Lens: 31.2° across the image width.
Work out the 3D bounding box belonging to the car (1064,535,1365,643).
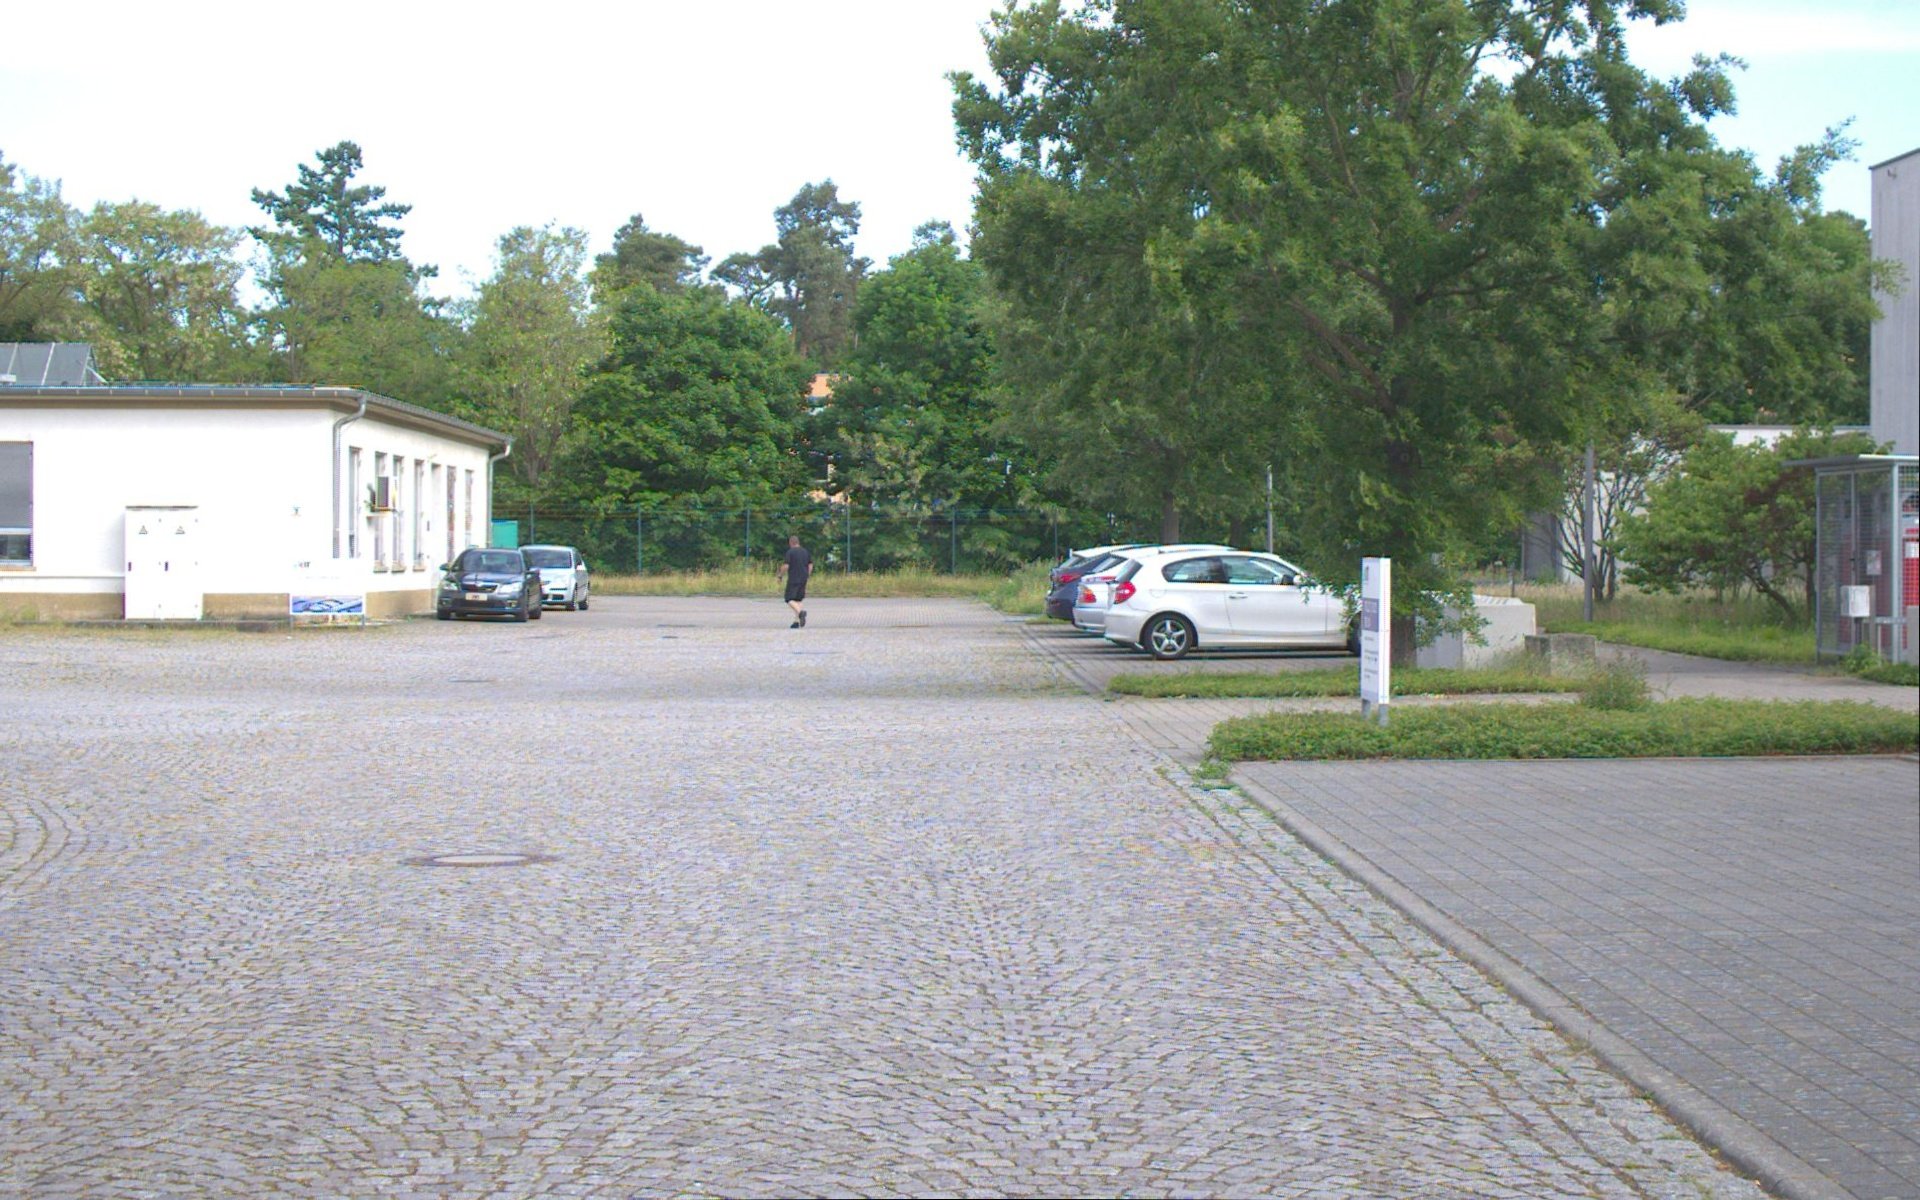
[{"bbox_3d":[3.461,-0.162,47.231,3.987,1.450,1.697,0,1,0],"label":"car"}]

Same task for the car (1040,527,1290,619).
[{"bbox_3d":[3.453,-0.474,58.389,3.986,1.528,2.000,0,1,-5],"label":"car"}]

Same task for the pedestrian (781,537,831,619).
[{"bbox_3d":[-2.992,-0.434,66.570,0.939,1.563,0.971,0,1,-4],"label":"pedestrian"}]

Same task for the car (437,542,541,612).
[{"bbox_3d":[-9.414,-0.480,68.901,1.748,1.359,4.001,0,1,-3],"label":"car"}]

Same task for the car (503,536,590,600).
[{"bbox_3d":[-9.490,-0.750,79.131,1.748,1.449,4.001,0,1,-3],"label":"car"}]

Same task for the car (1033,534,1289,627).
[{"bbox_3d":[3.188,-0.321,55.172,3.987,1.450,1.770,0,1,0],"label":"car"}]

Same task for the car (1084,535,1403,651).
[{"bbox_3d":[3.665,-0.090,45.065,3.987,1.450,2.000,1,0,0],"label":"car"}]

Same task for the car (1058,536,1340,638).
[{"bbox_3d":[3.461,-0.200,50.272,3.987,1.450,1.770,0,1,0],"label":"car"}]
